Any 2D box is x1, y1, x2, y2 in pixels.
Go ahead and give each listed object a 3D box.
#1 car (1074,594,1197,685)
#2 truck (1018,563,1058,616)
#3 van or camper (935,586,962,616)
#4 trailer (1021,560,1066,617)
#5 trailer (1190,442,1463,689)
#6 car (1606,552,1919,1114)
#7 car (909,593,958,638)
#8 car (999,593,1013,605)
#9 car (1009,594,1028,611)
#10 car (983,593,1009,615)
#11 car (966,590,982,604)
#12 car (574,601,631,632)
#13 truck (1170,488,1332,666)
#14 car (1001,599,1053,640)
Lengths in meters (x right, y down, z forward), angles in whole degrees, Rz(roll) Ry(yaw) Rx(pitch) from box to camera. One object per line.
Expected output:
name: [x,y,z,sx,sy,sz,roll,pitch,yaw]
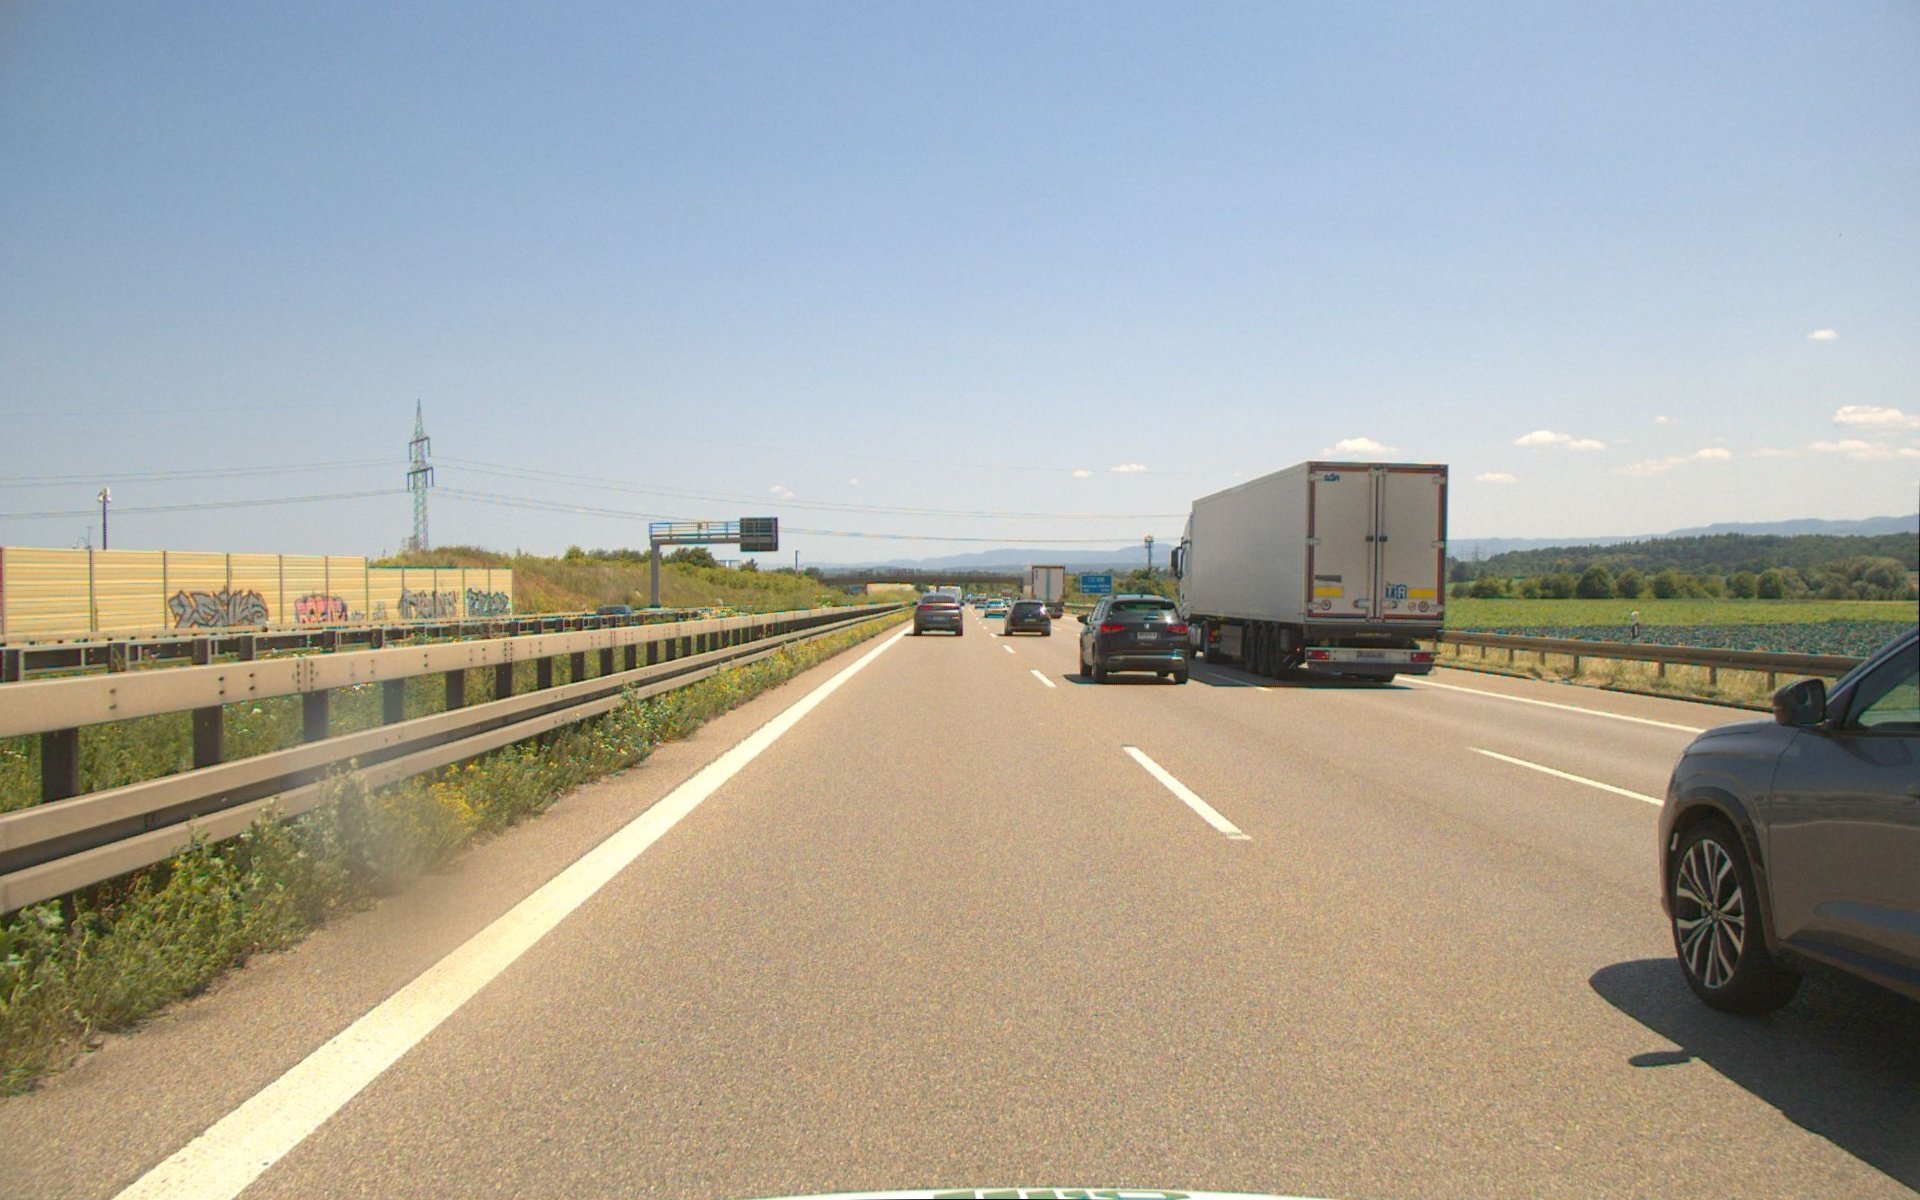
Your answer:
car: [3.273,0.710,31.511,1.761,1.589,3.821,1,0,-3]
truck: [6.497,-0.850,138.486,2.918,4.301,7.687,1,0,0]
van or camper: [-0.915,0.095,132.127,2.067,2.250,5.265,1,0,0]
trailer: [6.577,-0.858,132.482,2.883,4.271,13.596,1,0,0]
trailer: [7.405,-0.589,35.854,2.809,4.294,13.292,1,0,0]
car: [3.771,0.693,4.950,1.813,1.677,4.644,0,1,-1]
car: [-1.077,0.598,65.659,1.814,1.693,3.733,1,0,-3]
car: [6.916,-0.134,250.692,1.953,1.712,4.000,1,0,0]
car: [6.424,0.279,181.694,1.953,1.712,4.000,1,0,0]
car: [2.789,0.324,130.575,1.953,1.712,4.000,1,0,0]
car: [1.810,-0.367,216.289,1.953,1.712,4.000,1,0,0]
car: [-17.450,0.770,80.928,1.953,1.445,3.999,1,0,-1]
truck: [7.340,-0.542,42.639,2.804,4.163,6.878,1,0,-1]
car: [2.706,0.784,68.061,1.894,1.602,4.934,1,0,0]
